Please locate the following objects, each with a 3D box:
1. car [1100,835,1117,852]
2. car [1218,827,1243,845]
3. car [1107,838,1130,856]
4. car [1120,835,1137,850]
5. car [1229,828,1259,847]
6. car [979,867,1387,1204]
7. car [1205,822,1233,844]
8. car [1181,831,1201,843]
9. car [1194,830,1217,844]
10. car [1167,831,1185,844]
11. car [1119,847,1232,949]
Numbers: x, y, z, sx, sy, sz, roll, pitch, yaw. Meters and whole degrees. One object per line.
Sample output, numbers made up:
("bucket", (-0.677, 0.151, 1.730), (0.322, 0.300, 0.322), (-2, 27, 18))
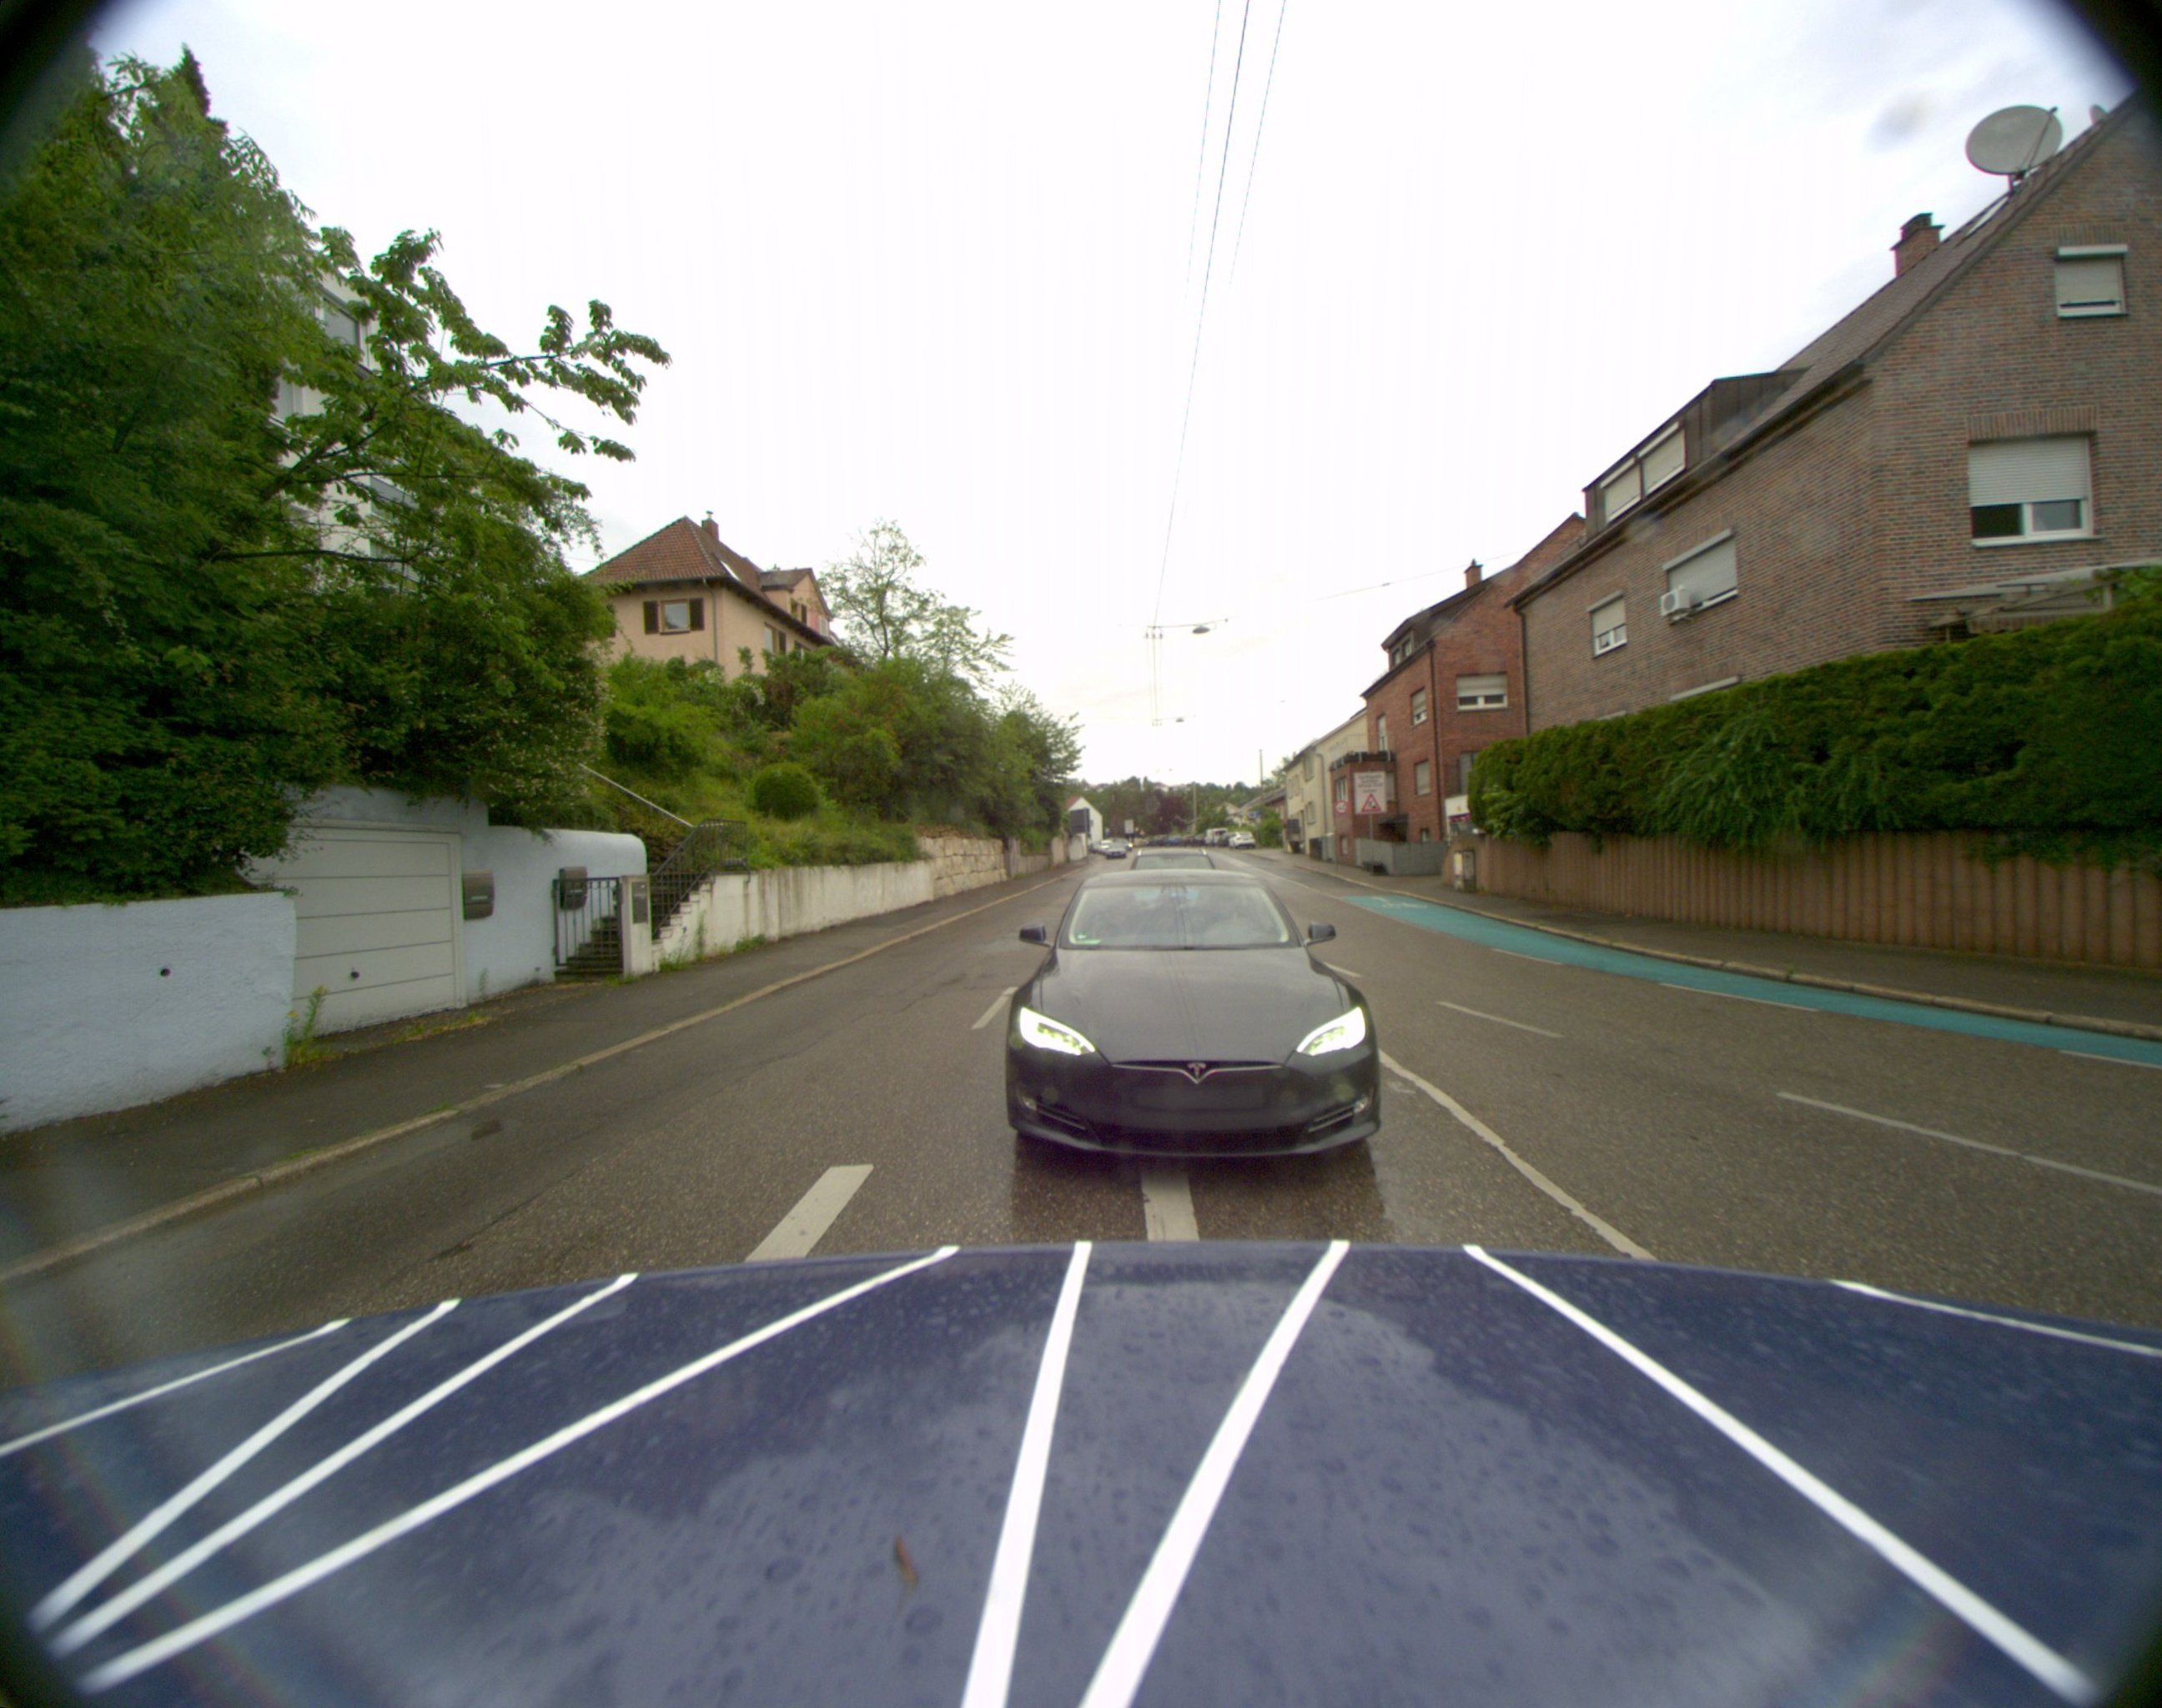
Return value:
("car", (3.188, -1.241, 89.039), (1.820, 1.855, 4.038), (-2, 2, -1))
("car", (15.725, -1.903, 80.111), (1.814, 1.793, 4.263), (-4, 1, 2))
("car", (3.648, -0.629, 73.168), (2.002, 1.596, 4.360), (-2, -1, 4))
("car", (6.045, -1.480, 96.122), (1.817, 1.720, 4.000), (-2, -1, 0))
("car", (15.357, -1.552, 71.963), (1.946, 1.557, 4.263), (-4, 1, 2))
("car", (0.617, 0.907, 5.573), (1.870, 1.407, 4.000), (-2, 1, 4))
("car", (15.614, -2.332, 86.141), (2.257, 2.273, 4.546), (-4, 1, 0))
("car", (14.039, -2.178, 97.415), (1.654, 1.388, 3.859), (-4, 1, -4))
("car", (15.007, -2.024, 91.508), (1.654, 1.482, 4.009), (-4, 1, -6))
("car", (12.858, -2.212, 102.607), (1.624, 1.482, 3.901), (-4, 1, -4))
("car", (1.672, 0.704, 14.258), (1.789, 1.580, 3.784), (-2, 1, 4))
